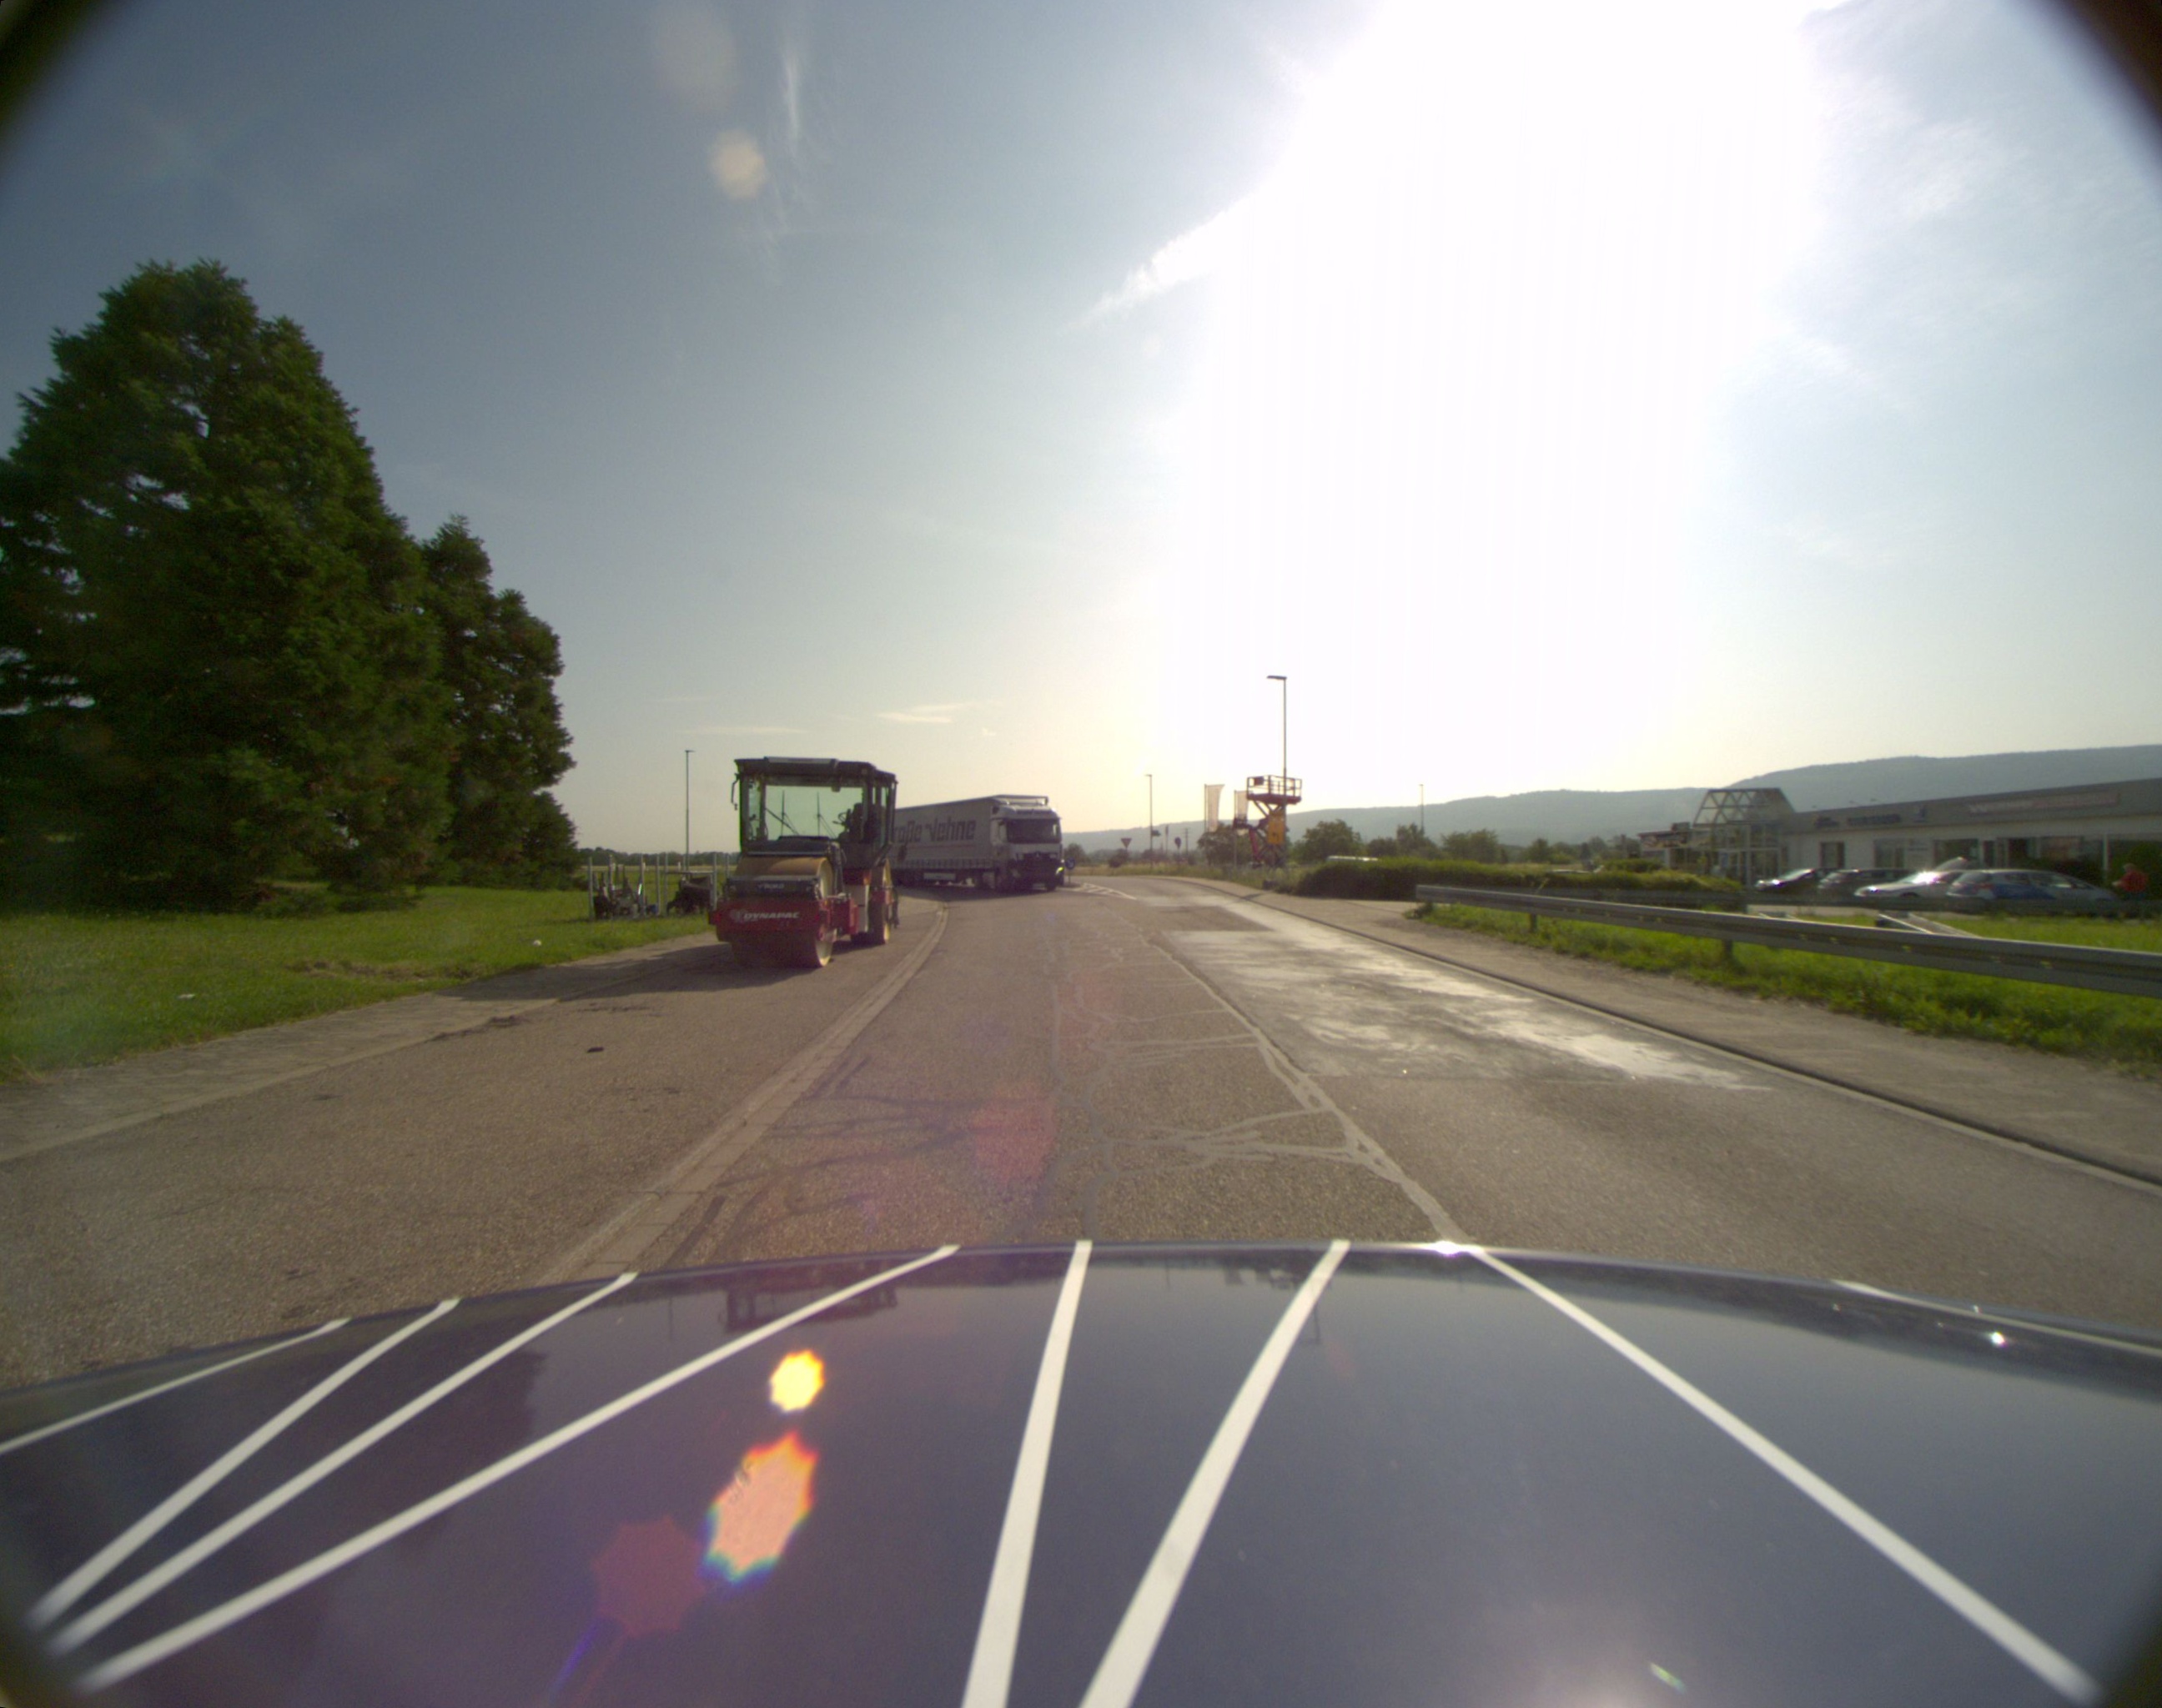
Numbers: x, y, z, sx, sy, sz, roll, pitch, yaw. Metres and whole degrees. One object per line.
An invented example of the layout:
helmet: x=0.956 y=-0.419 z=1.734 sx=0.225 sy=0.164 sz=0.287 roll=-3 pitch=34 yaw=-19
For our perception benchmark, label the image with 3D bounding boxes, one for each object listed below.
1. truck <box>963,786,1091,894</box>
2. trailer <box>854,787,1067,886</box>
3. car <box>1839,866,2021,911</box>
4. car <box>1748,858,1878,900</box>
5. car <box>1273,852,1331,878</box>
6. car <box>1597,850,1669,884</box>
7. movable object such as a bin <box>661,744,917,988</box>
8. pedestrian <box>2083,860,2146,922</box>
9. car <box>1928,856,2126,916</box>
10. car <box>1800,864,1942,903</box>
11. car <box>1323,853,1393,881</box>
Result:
truck: x=-2.504 y=-0.582 z=33.108 sx=3.402 sy=4.183 sz=6.086 roll=-3 pitch=1 yaw=-25
trailer: x=-6.717 y=-0.702 z=38.849 sx=3.506 sy=4.183 sz=14.194 roll=-4 pitch=1 yaw=-41
car: x=31.492 y=1.247 z=28.333 sx=4.149 sy=1.527 sz=1.885 roll=1 pitch=0 yaw=13
car: x=34.918 y=1.161 z=36.404 sx=4.087 sy=1.861 sz=1.820 roll=1 pitch=0 yaw=24
car: x=17.278 y=0.842 z=59.591 sx=1.820 sy=1.926 sz=4.087 roll=0 pitch=0 yaw=-33
car: x=34.634 y=0.787 z=47.830 sx=1.997 sy=2.002 sz=4.160 roll=1 pitch=0 yaw=9
movable object such as a bin: x=-4.222 y=0.151 z=12.303 sx=2.435 sy=2.994 sz=5.750 roll=1 pitch=0 yaw=-6
pedestrian: x=30.299 y=1.058 z=22.285 sx=0.841 sy=1.744 sz=0.991 roll=-3 pitch=2 yaw=-29
car: x=31.532 y=1.042 z=25.469 sx=3.767 sy=1.785 sz=1.934 roll=-2 pitch=1 yaw=14
car: x=32.567 y=1.180 z=31.438 sx=3.659 sy=1.455 sz=1.766 roll=1 pitch=0 yaw=16
car: x=21.557 y=0.994 z=59.320 sx=2.004 sy=2.002 sz=4.805 roll=0 pitch=0 yaw=-33
